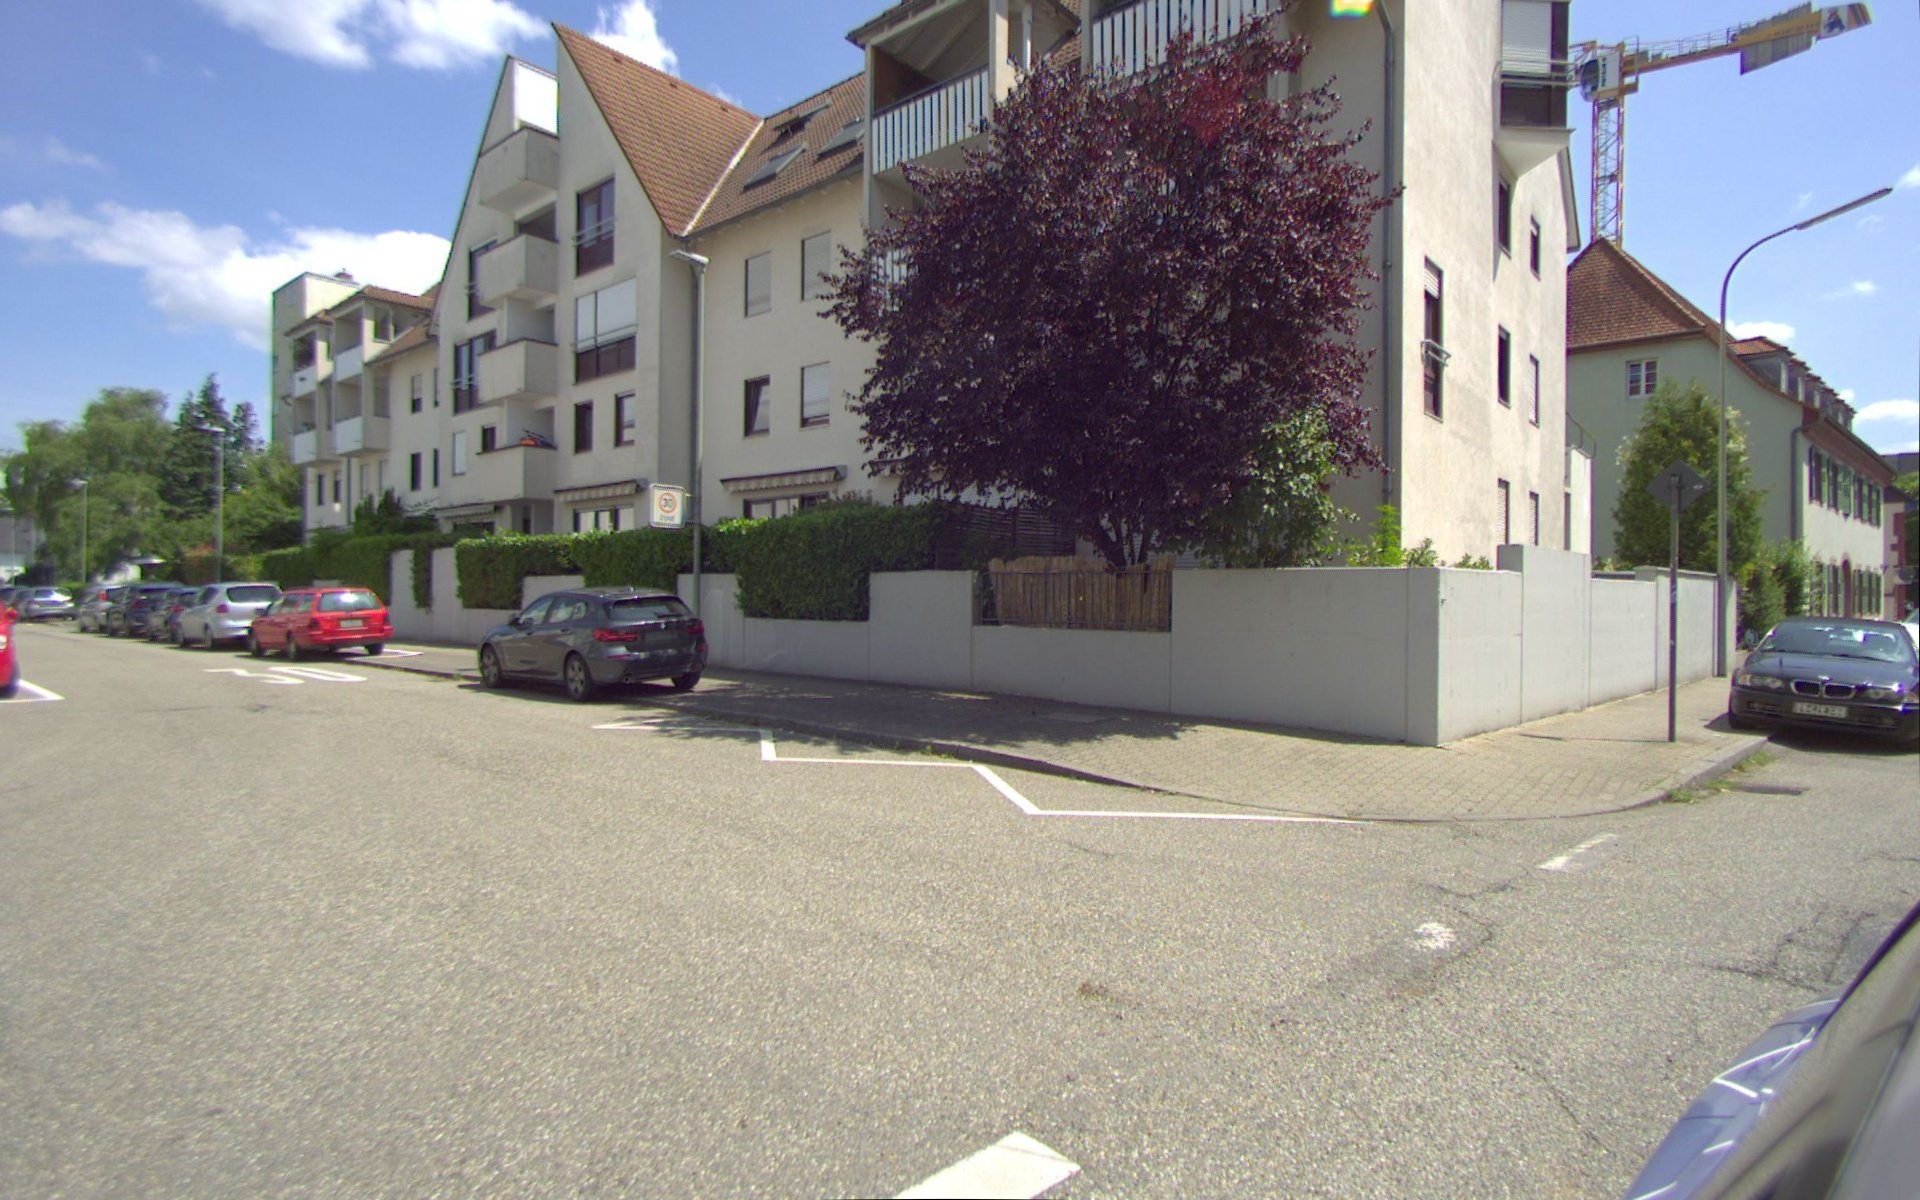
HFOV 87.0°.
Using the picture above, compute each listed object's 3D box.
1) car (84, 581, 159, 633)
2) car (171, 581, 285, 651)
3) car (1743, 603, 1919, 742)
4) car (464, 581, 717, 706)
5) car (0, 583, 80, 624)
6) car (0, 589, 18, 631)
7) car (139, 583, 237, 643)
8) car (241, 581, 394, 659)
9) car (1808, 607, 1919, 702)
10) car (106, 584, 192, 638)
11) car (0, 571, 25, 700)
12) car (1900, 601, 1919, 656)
[{"bbox_3d":[-29.098,0.226,35.097,3.412,1.697,1.646,0,0,44],"label":"car"},{"bbox_3d":[-17.865,0.346,24.635,3.771,1.577,1.512,1,0,42],"label":"car"},{"bbox_3d":[10.846,0.753,12.258,1.657,1.393,4.170,1,0,45],"label":"car"},{"bbox_3d":[-5.350,0.508,14.418,3.984,1.486,1.712,2,1,42],"label":"car"},{"bbox_3d":[-40.260,0.182,44.255,3.977,1.698,1.973,-2,-2,38],"label":"car"},{"bbox_3d":[-38.431,0.422,39.540,3.982,1.594,1.970,-2,-2,41],"label":"car"},{"bbox_3d":[-21.573,0.330,28.233,3.771,1.577,1.512,1,0,42],"label":"car"},{"bbox_3d":[-13.474,0.376,21.145,3.768,1.485,1.630,1,0,40],"label":"car"},{"bbox_3d":[15.464,0.840,16.828,3.757,1.370,1.587,0,2,-42],"label":"car"},{"bbox_3d":[-25.107,0.307,31.299,3.771,1.577,1.512,1,0,42],"label":"car"},{"bbox_3d":[-13.254,0.410,13.063,3.507,1.561,1.570,1,0,45],"label":"car"},{"bbox_3d":[28.704,0.820,29.247,3.929,1.534,1.850,1,0,-41],"label":"car"}]
